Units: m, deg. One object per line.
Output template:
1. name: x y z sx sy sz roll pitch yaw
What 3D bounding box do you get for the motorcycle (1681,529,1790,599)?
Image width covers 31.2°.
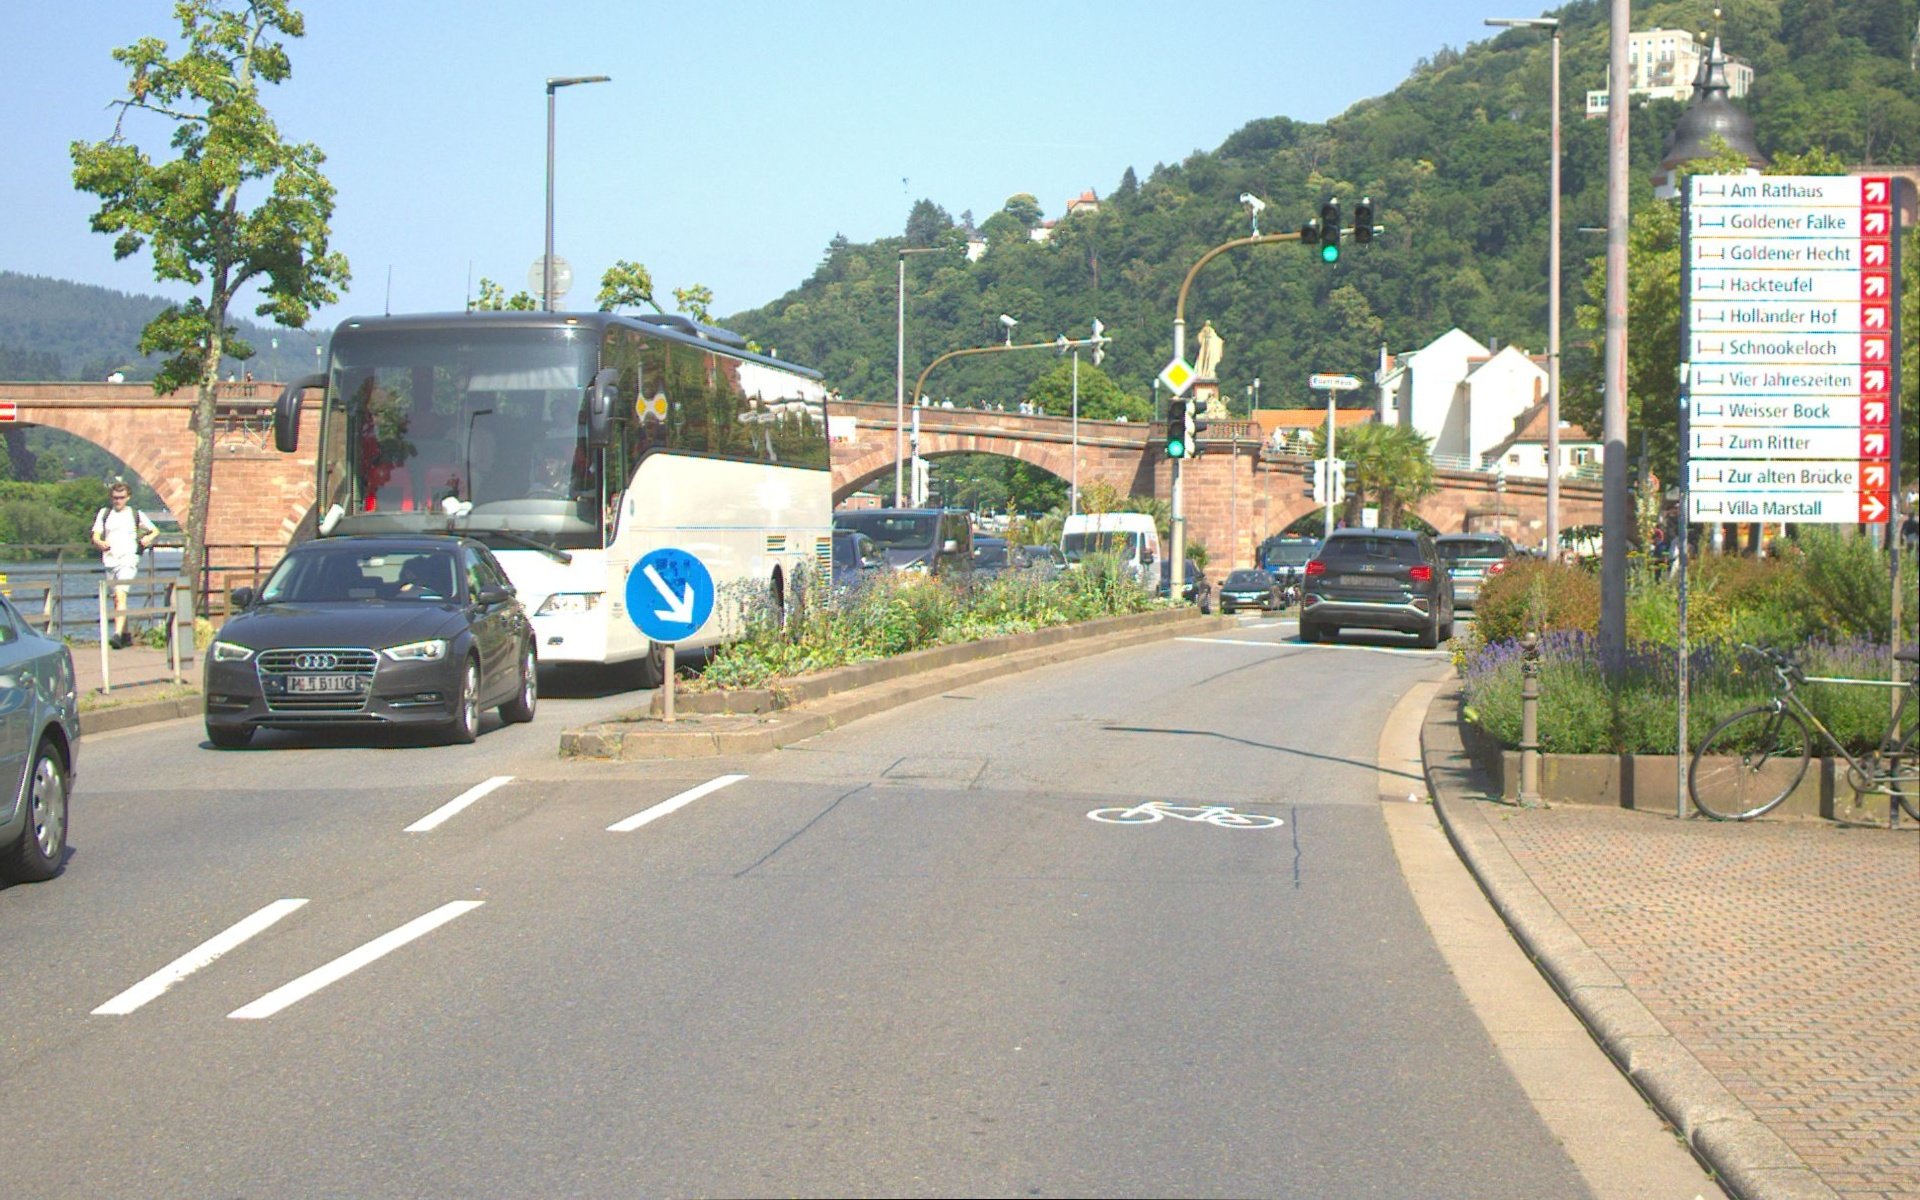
1. motorcycle: 16.483 -0.756 73.150 0.762 1.460 2.298 0 0 -38

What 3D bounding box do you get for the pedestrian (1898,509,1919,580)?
1. pedestrian: 22.294 -1.305 80.228 0.708 1.647 0.706 1 1 11

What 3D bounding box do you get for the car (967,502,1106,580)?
1. car: 1.511 -1.125 66.039 1.953 1.404 4.568 -2 1 10

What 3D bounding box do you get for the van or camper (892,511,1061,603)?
1. van or camper: 0.333 -0.714 58.538 1.994 1.472 5.063 0 0 11

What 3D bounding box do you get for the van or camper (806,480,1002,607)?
1. van or camper: -0.801 -0.872 53.501 1.994 1.867 5.177 0 1 11

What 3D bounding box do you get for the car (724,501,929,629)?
1. car: -1.752 -0.495 47.088 1.994 1.593 5.156 -2 1 7

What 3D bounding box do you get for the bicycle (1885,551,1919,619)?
1. bicycle: 17.974 -0.238 62.769 2.001 1.194 0.521 4 2 23

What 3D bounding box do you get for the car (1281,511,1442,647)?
1. car: 5.374 -0.334 45.773 1.927 1.547 4.831 4 3 7

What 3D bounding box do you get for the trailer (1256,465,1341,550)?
1. trailer: 14.063 -3.796 142.427 2.659 3.391 8.822 1 1 11

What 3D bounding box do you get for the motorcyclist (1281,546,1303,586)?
1. motorcyclist: 12.247 -1.256 126.770 0.736 1.465 1.011 1 1 9

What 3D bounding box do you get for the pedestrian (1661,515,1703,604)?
1. pedestrian: 14.515 -0.811 69.155 0.693 1.765 0.764 -1 1 3

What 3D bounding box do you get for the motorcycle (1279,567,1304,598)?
1. motorcycle: 12.227 -0.657 126.811 0.757 1.128 2.455 1 1 8

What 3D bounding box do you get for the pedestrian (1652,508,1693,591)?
1. pedestrian: 14.432 -1.028 69.644 0.693 1.671 0.764 -1 1 3

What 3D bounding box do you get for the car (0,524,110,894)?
1. car: -4.657 0.464 12.885 1.813 1.423 4.311 -1 2 1

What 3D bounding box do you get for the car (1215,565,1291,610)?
1. car: 9.796 -0.398 114.575 1.953 1.408 4.216 -1 -1 13

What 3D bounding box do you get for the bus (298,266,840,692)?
1. bus: -3.525 -1.063 35.343 2.632 3.552 12.980 1 0 7

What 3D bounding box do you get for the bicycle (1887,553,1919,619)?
1. bicycle: 18.153 -0.225 63.246 2.014 1.194 0.521 3 2 23

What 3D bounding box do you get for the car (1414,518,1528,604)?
1. car: 9.215 -0.726 62.027 1.927 1.456 4.830 1 1 9

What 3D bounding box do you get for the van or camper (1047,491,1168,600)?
1. van or camper: 3.526 -1.241 81.087 1.994 2.441 5.491 -1 0 11

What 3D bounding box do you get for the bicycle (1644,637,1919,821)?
1. bicycle: 4.570 0.680 18.066 1.810 0.875 0.502 3 2 -1

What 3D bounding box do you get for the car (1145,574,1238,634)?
1. car: 5.997 0.087 88.528 1.819 1.451 4.927 -1 1 10

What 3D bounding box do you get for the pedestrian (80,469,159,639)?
1. pedestrian: -8.868 -0.488 36.269 0.620 1.774 0.662 1 1 3

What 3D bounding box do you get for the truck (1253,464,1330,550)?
1. truck: 13.426 -3.740 139.108 2.659 3.391 4.448 1 1 11

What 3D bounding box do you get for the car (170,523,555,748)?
1. car: -4.073 0.180 24.093 1.817 1.424 4.193 0 1 2
